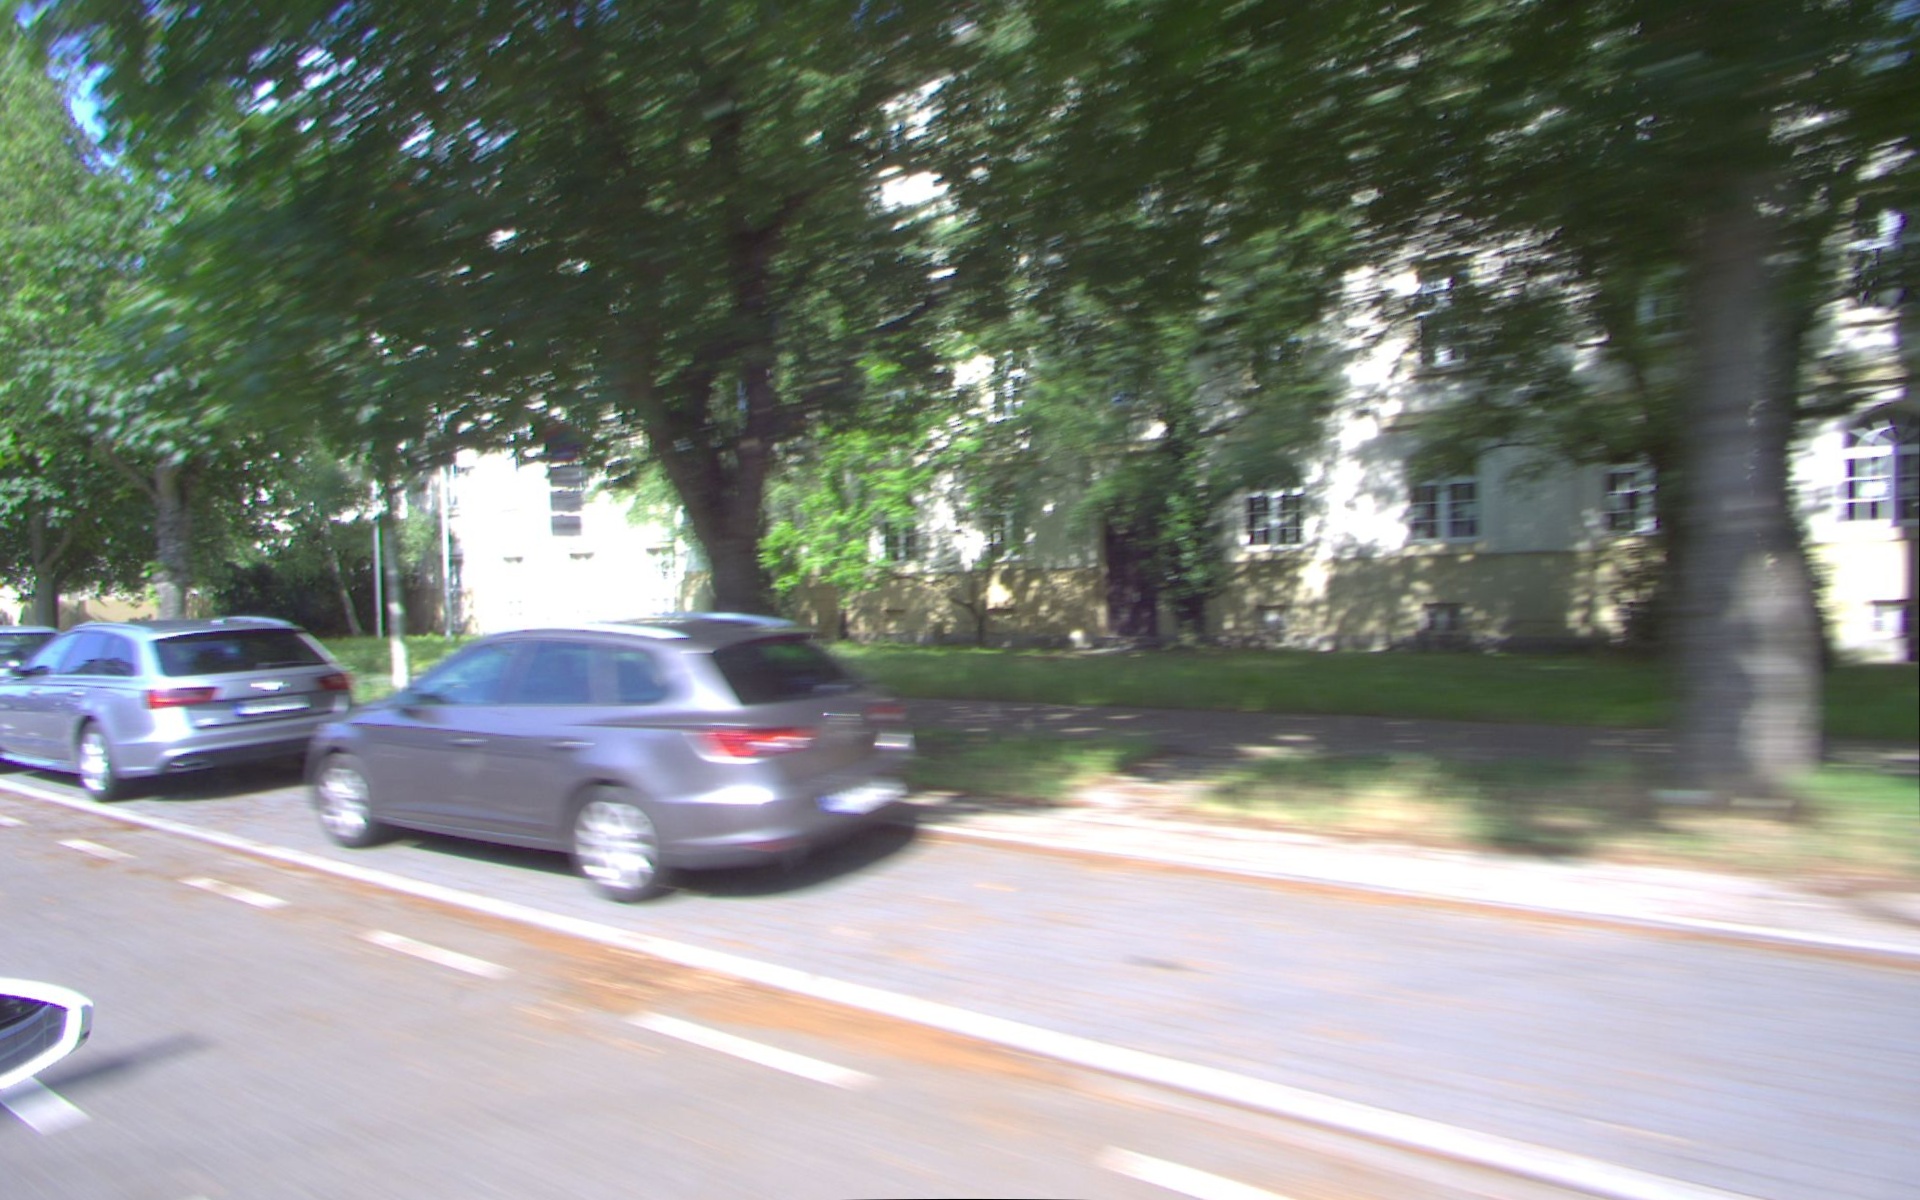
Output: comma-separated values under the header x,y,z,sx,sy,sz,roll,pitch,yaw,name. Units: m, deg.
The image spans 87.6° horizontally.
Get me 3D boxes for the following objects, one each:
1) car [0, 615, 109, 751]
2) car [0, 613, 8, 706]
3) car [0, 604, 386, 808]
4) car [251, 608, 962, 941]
x,y,z,sx,sy,sz,roll,pitch,yaw,name
-12.302,0.968,12.403,3.960,1.451,1.630,0,3,35,car
-17.165,0.986,15.677,4.758,1.487,1.828,-2,2,29,car
-7.903,0.834,9.754,4.977,1.461,1.824,0,4,32,car
-2.435,0.830,6.549,4.588,1.420,1.824,-1,3,31,car
